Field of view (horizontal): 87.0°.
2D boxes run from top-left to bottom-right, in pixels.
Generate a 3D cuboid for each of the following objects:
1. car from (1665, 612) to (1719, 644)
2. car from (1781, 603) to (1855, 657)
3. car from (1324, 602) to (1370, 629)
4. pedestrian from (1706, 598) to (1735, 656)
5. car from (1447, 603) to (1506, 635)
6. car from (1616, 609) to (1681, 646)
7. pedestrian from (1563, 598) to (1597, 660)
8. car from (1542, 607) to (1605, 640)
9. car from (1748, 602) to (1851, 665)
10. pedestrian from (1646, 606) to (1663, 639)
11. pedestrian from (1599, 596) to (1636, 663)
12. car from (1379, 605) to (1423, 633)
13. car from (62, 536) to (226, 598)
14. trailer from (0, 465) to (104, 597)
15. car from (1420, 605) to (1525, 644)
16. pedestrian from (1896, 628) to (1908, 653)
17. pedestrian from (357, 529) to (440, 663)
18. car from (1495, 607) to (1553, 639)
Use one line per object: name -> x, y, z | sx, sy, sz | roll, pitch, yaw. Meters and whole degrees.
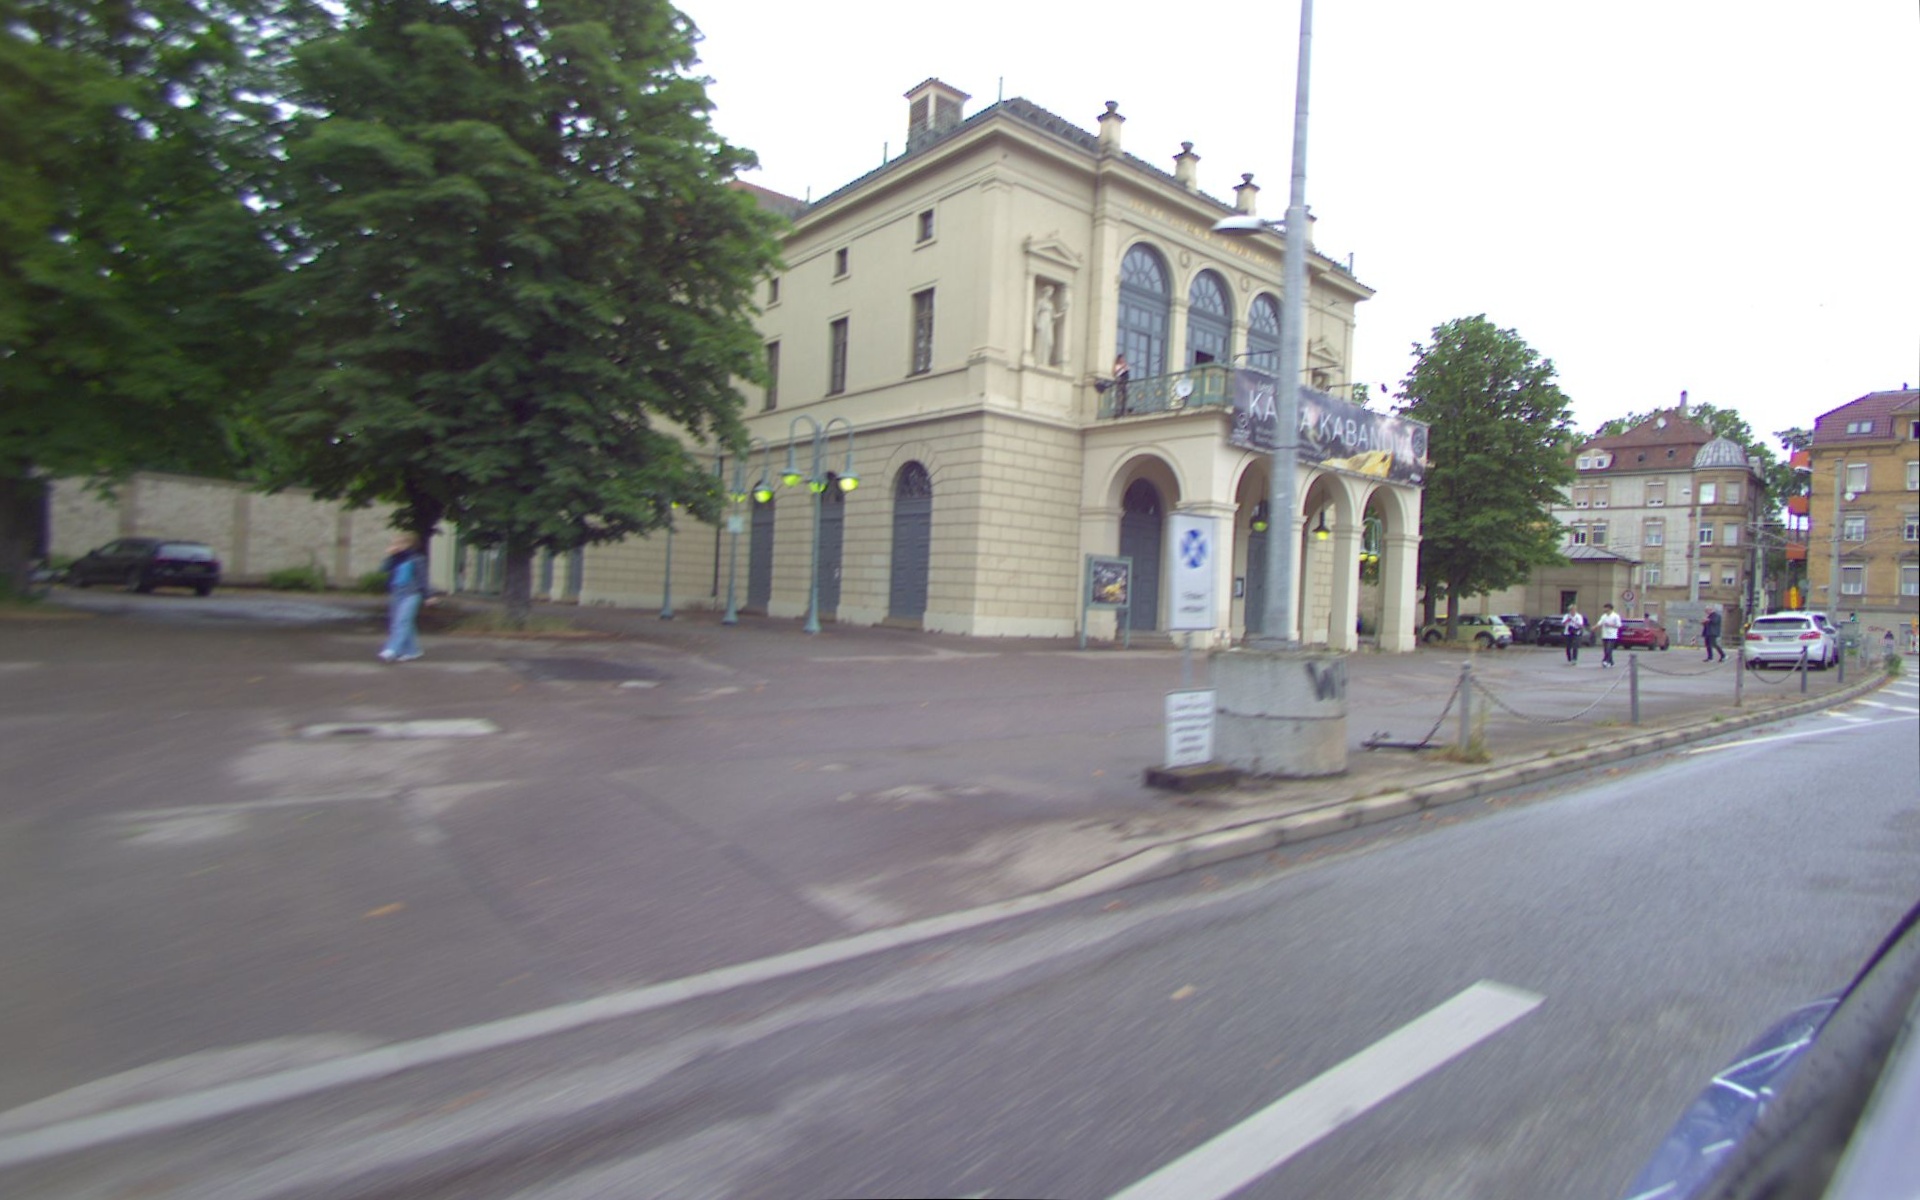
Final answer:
car -> 39.966, 1.484, 55.230 | 1.827, 1.602, 3.936 | 3, 1, 44
car -> 28.100, 0.951, 33.125 | 1.714, 1.661, 4.081 | -2, -2, 41
car -> 22.441, 0.850, 58.811 | 1.677, 1.412, 3.988 | 2, 1, 10
pedestrian -> 24.491, 0.867, 32.592 | 0.695, 1.830, 0.770 | 0, -1, 41
car -> 27.885, 0.992, 54.633 | 1.825, 1.602, 3.938 | 3, 1, 42
car -> 32.427, 1.265, 47.635 | 1.827, 1.602, 3.936 | 3, 1, 44
pedestrian -> 17.315, 0.798, 28.247 | 0.627, 1.665, 0.768 | 2, 1, 43
car -> 30.423, 1.139, 50.145 | 1.859, 1.568, 4.002 | 1, 0, 43
car -> 24.102, 0.931, 29.002 | 4.074, 1.661, 1.839 | 1, -2, -44
pedestrian -> 37.760, 1.226, 55.031 | 0.697, 1.763, 0.453 | 2, 0, -29
pedestrian -> 17.610, 0.775, 27.100 | 0.824, 1.758, 0.595 | 1, 1, -42
car -> 24.920, 1.026, 57.119 | 1.709, 1.460, 3.955 | 2, 1, 31
car -> -21.850, -0.885, 27.087 | 4.234, 1.425, 1.726 | 3, 1, 25
trailer -> -23.050, -1.628, 22.870 | 5.550, 2.821, 2.147 | 3, 0, 1
car -> 22.608, 1.062, 44.725 | 1.696, 1.487, 3.745 | 1, 1, -37
pedestrian -> 65.305, 2.788, 70.159 | 0.525, 1.675, 0.511 | 1, 0, -42
pedestrian -> -7.079, -0.057, 12.789 | 0.654, 1.610, 0.867 | 3, 1, -14
car -> 29.392, 1.176, 52.651 | 1.678, 1.516, 3.936 | 3, 1, 44
